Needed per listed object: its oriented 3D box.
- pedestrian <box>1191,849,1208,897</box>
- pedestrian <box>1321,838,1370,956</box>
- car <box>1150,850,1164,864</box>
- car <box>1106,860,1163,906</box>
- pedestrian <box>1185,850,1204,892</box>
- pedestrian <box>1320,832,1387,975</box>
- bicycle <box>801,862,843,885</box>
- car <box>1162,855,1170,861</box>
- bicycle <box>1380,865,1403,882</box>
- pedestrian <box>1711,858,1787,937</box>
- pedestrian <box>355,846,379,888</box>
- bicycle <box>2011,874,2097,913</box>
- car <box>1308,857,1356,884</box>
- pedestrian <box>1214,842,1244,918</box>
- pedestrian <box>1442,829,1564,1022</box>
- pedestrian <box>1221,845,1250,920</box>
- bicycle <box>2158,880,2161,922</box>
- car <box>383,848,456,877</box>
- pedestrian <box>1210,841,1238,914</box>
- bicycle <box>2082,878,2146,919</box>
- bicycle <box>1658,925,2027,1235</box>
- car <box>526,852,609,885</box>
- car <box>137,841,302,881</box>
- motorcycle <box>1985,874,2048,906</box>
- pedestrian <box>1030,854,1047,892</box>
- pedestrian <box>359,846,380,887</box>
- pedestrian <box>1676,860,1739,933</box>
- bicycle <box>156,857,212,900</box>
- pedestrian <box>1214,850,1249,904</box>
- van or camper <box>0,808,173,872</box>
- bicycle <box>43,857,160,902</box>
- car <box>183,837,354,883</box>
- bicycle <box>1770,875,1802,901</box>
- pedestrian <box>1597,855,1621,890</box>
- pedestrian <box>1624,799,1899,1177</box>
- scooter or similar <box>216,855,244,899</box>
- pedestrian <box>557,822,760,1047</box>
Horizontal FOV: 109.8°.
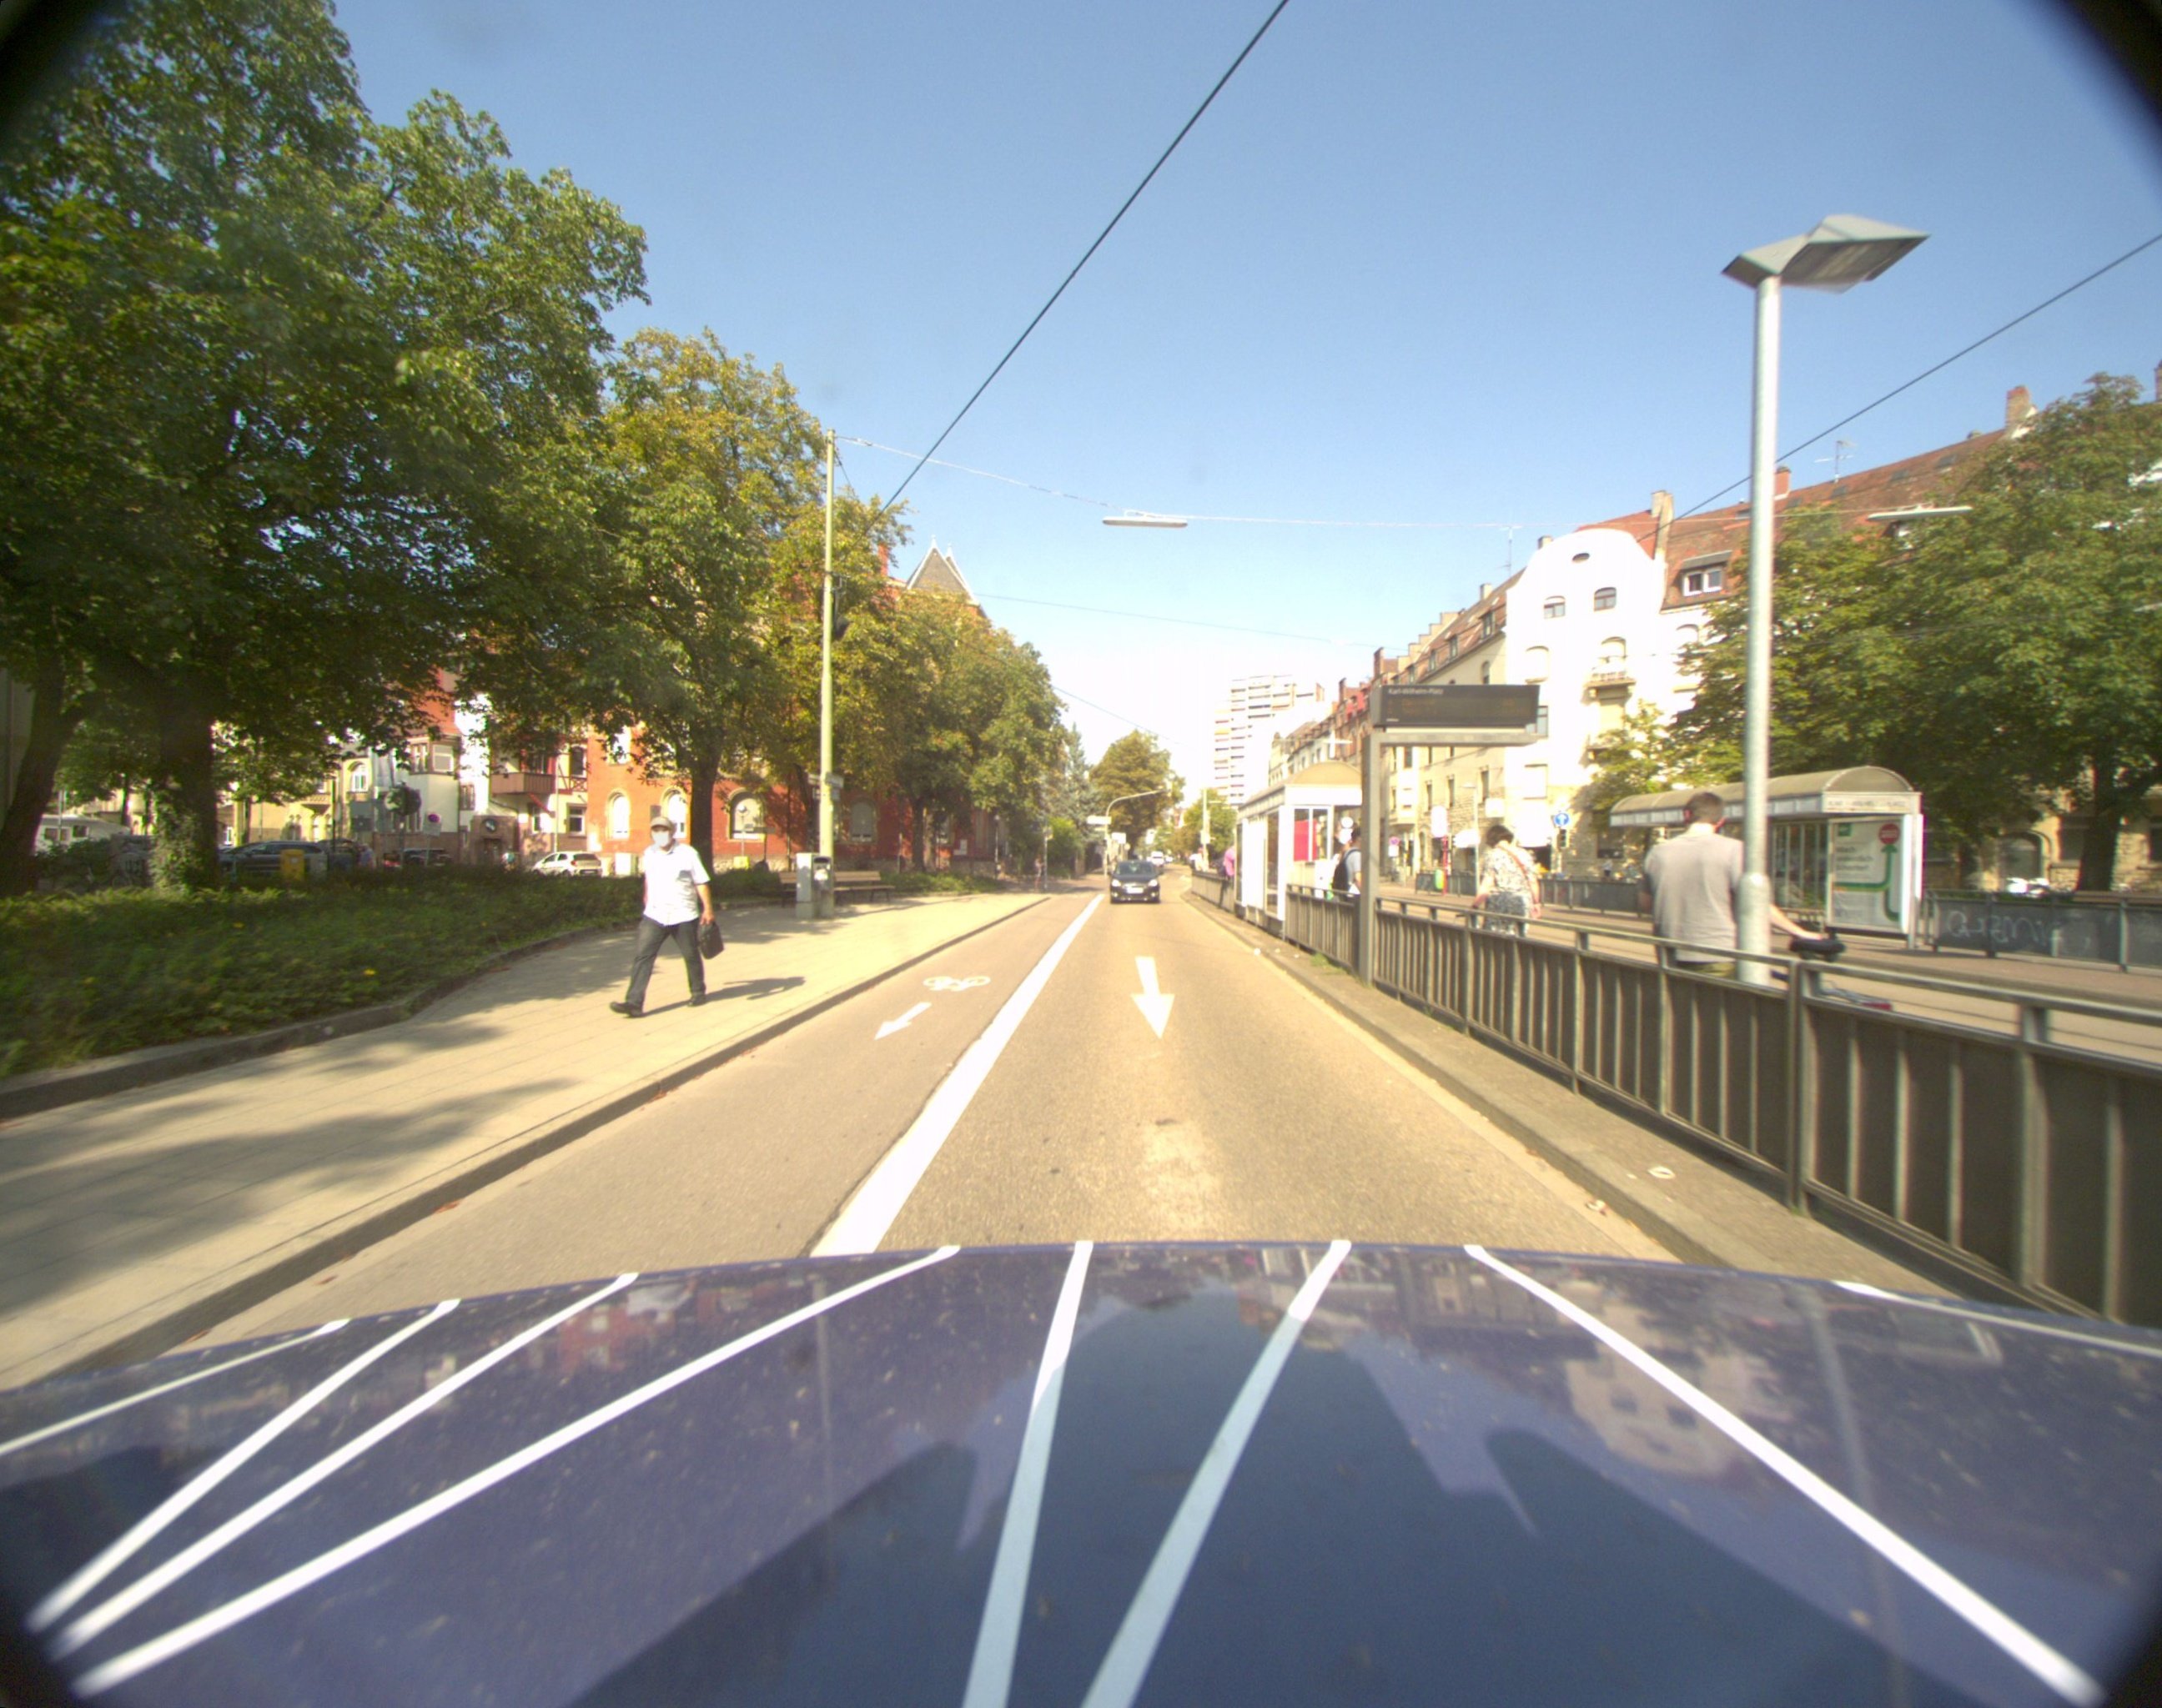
[{"bbox_3d":[4.423,0.702,28.421,0.559,1.792,0.676,1,0,7],"label":"pedestrian"},{"bbox_3d":[3.994,0.636,11.503,0.553,1.750,0.533,1,1,2],"label":"pedestrian"},{"bbox_3d":[13.069,0.513,130.374,2.086,2.264,4.830,1,0,8],"label":"car"},{"bbox_3d":[1.922,0.949,26.417,1.774,1.459,4.002,0,0,7],"label":"car"},{"bbox_3d":[4.851,0.735,32.519,0.730,1.759,0.739,-1,-2,7],"label":"pedestrian"},{"bbox_3d":[3.535,0.626,9.912,0.605,1.795,0.730,1,0,2],"label":"pedestrian"},{"bbox_3d":[-12.625,0.944,37.058,0.607,1.052,1.843,-3,-1,45],"label":"bicycle"},{"bbox_3d":[23.584,1.220,210.514,1.997,1.639,4.003,1,0,8],"label":"car"},{"bbox_3d":[21.697,1.341,53.192,0.545,1.097,1.895,1,0,-10],"label":"bicycle"},{"bbox_3d":[12.650,0.808,14.405,0.794,1.448,0.718,1,0,4],"label":"pedestrian"},{"bbox_3d":[-29.875,0.542,31.804,0.656,1.753,0.605,0,1,-35],"label":"pedestrian"},{"bbox_3d":[35.518,1.429,27.743,2.303,1.363,0.867,1,0,-7],"label":"bicycle"},{"bbox_3d":[16.302,1.063,49.648,1.998,1.641,4.484,1,0,5],"label":"car"},{"bbox_3d":[3.682,0.641,18.927,0.638,1.837,0.634,1,0,6],"label":"pedestrian"},{"bbox_3d":[4.010,0.651,7.270,0.769,1.750,0.680,1,0,2],"label":"pedestrian"},{"bbox_3d":[3.709,0.673,18.242,0.590,1.753,0.607,1,0,6],"label":"pedestrian"},{"bbox_3d":[36.435,1.553,24.937,2.306,1.363,0.866,1,0,-25],"label":"bicycle"},{"bbox_3d":[-37.811,0.481,43.425,3.990,1.558,1.625,1,0,25],"label":"car"},{"bbox_3d":[3.678,0.605,19.587,0.638,1.837,0.634,1,0,6],"label":"pedestrian"},{"bbox_3d":[36.031,1.517,26.499,2.306,1.363,0.866,1,0,-25],"label":"bicycle"},{"bbox_3d":[3.777,1.003,3.988,0.473,1.097,1.739,1,0,12],"label":"bicycle"},{"bbox_3d":[-25.732,0.682,38.051,3.990,1.558,1.625,1,0,25],"label":"car"},{"bbox_3d":[-35.998,0.335,31.922,1.659,1.453,4.203,1,-3,19],"label":"car"},{"bbox_3d":[35.253,1.345,28.635,1.884,1.170,0.677,0,1,-12],"label":"motorcycle"},{"bbox_3d":[-1.950,0.846,34.542,0.542,1.708,0.662,1,0,19],"label":"pedestrian"},{"bbox_3d":[-30.444,0.522,32.516,0.592,1.753,0.605,0,1,-37],"label":"pedestrian"},{"bbox_3d":[12.751,0.850,15.482,0.678,1.448,0.718,1,0,4],"label":"pedestrian"},{"bbox_3d":[-23.214,0.619,19.650,1.834,1.052,0.610,1,0,30],"label":"bicycle"},{"bbox_3d":[4.716,0.712,23.834,0.815,1.645,0.866,1,0,-10],"label":"pedestrian"},{"bbox_3d":[-51.984,-0.637,38.726,1.995,2.863,6.958,-2,-4,23],"label":"van or camper"},{"bbox_3d":[-23.824,0.620,18.506,1.869,1.052,0.608,1,0,-6],"label":"bicycle"},{"bbox_3d":[-31.317,0.214,29.445,1.658,1.628,4.203,1,0,24],"label":"car"},{"bbox_3d":[31.647,1.514,34.103,2.346,1.073,0.695,1,0,-39],"label":"bicycle"},{"bbox_3d":[28.135,0.991,40.486,0.735,1.857,0.673,1,0,0],"label":"pedestrian"},{"bbox_3d":[3.452,0.624,3.937,0.691,1.756,0.796,1,0,2],"label":"pedestrian"},{"bbox_3d":[-23.257,0.620,20.765,1.110,1.151,0.443,1,1,38],"label":"scooter or similar"},{"bbox_3d":[-3.556,0.634,6.506,1.079,1.714,0.969,4,1,2],"label":"pedestrian"}]
